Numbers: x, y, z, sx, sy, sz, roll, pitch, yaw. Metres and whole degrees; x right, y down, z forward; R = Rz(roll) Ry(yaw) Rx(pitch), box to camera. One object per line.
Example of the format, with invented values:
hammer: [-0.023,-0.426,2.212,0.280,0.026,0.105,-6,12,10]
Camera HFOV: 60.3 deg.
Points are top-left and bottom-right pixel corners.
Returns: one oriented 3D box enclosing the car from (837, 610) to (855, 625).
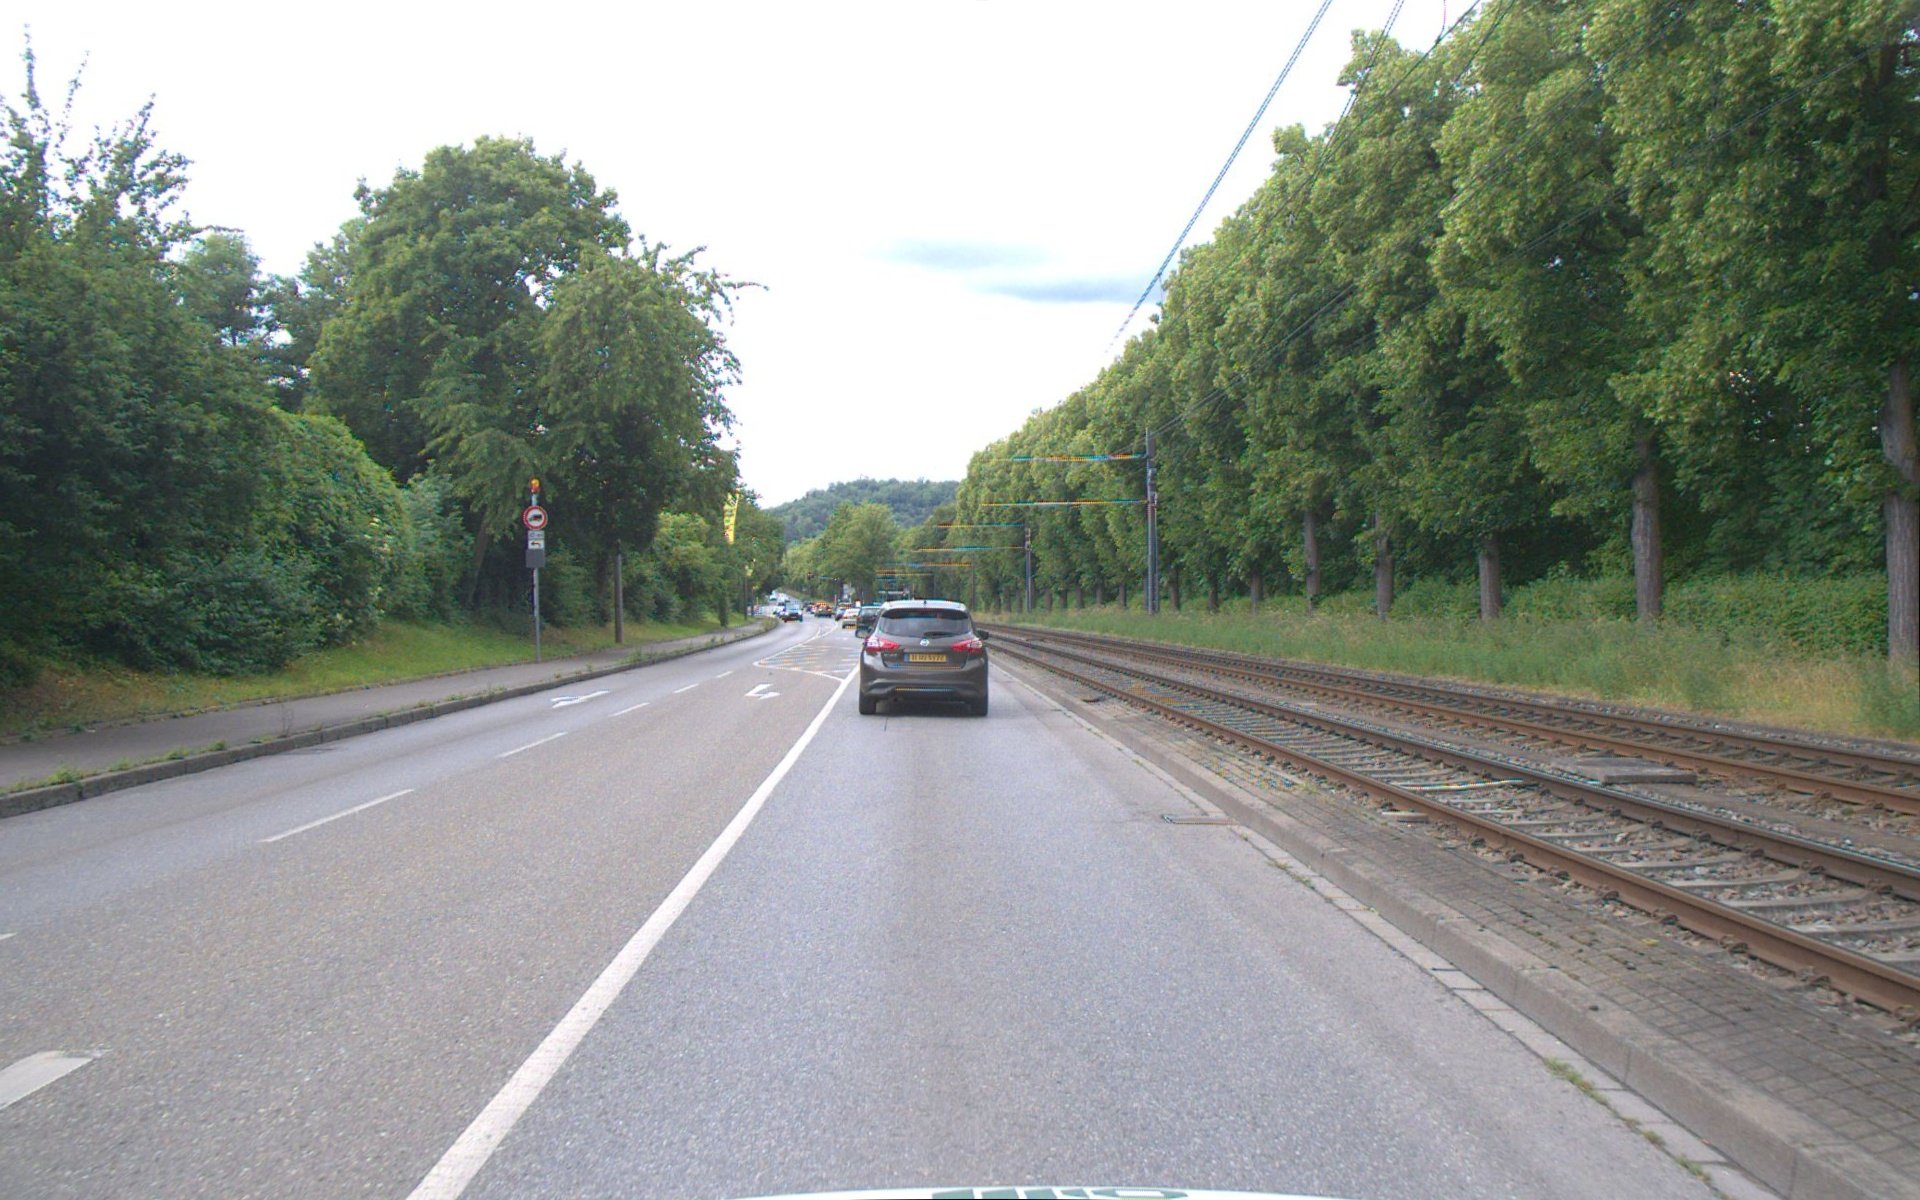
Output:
car: [-11.963,1.827,173.383,1.758,1.537,3.998,0,-1,-2]

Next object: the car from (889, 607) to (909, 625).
car: [-5.016,1.298,135.646,1.665,1.469,3.998,0,-1,-2]

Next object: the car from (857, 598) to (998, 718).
car: [-0.459,0.747,23.404,1.813,1.519,3.999,1,0,-1]

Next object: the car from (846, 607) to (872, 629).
car: [-6.810,1.203,112.056,1.665,1.469,3.998,0,-1,-2]

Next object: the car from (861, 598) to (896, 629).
car: [-3.938,0.636,80.052,1.666,1.469,3.998,0,-1,-2]

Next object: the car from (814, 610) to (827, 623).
car: [-19.388,2.330,230.090,1.665,1.744,3.998,0,-1,-2]

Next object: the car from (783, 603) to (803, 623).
car: [-18.147,1.459,180.183,1.954,2.072,5.111,-1,0,-4]
